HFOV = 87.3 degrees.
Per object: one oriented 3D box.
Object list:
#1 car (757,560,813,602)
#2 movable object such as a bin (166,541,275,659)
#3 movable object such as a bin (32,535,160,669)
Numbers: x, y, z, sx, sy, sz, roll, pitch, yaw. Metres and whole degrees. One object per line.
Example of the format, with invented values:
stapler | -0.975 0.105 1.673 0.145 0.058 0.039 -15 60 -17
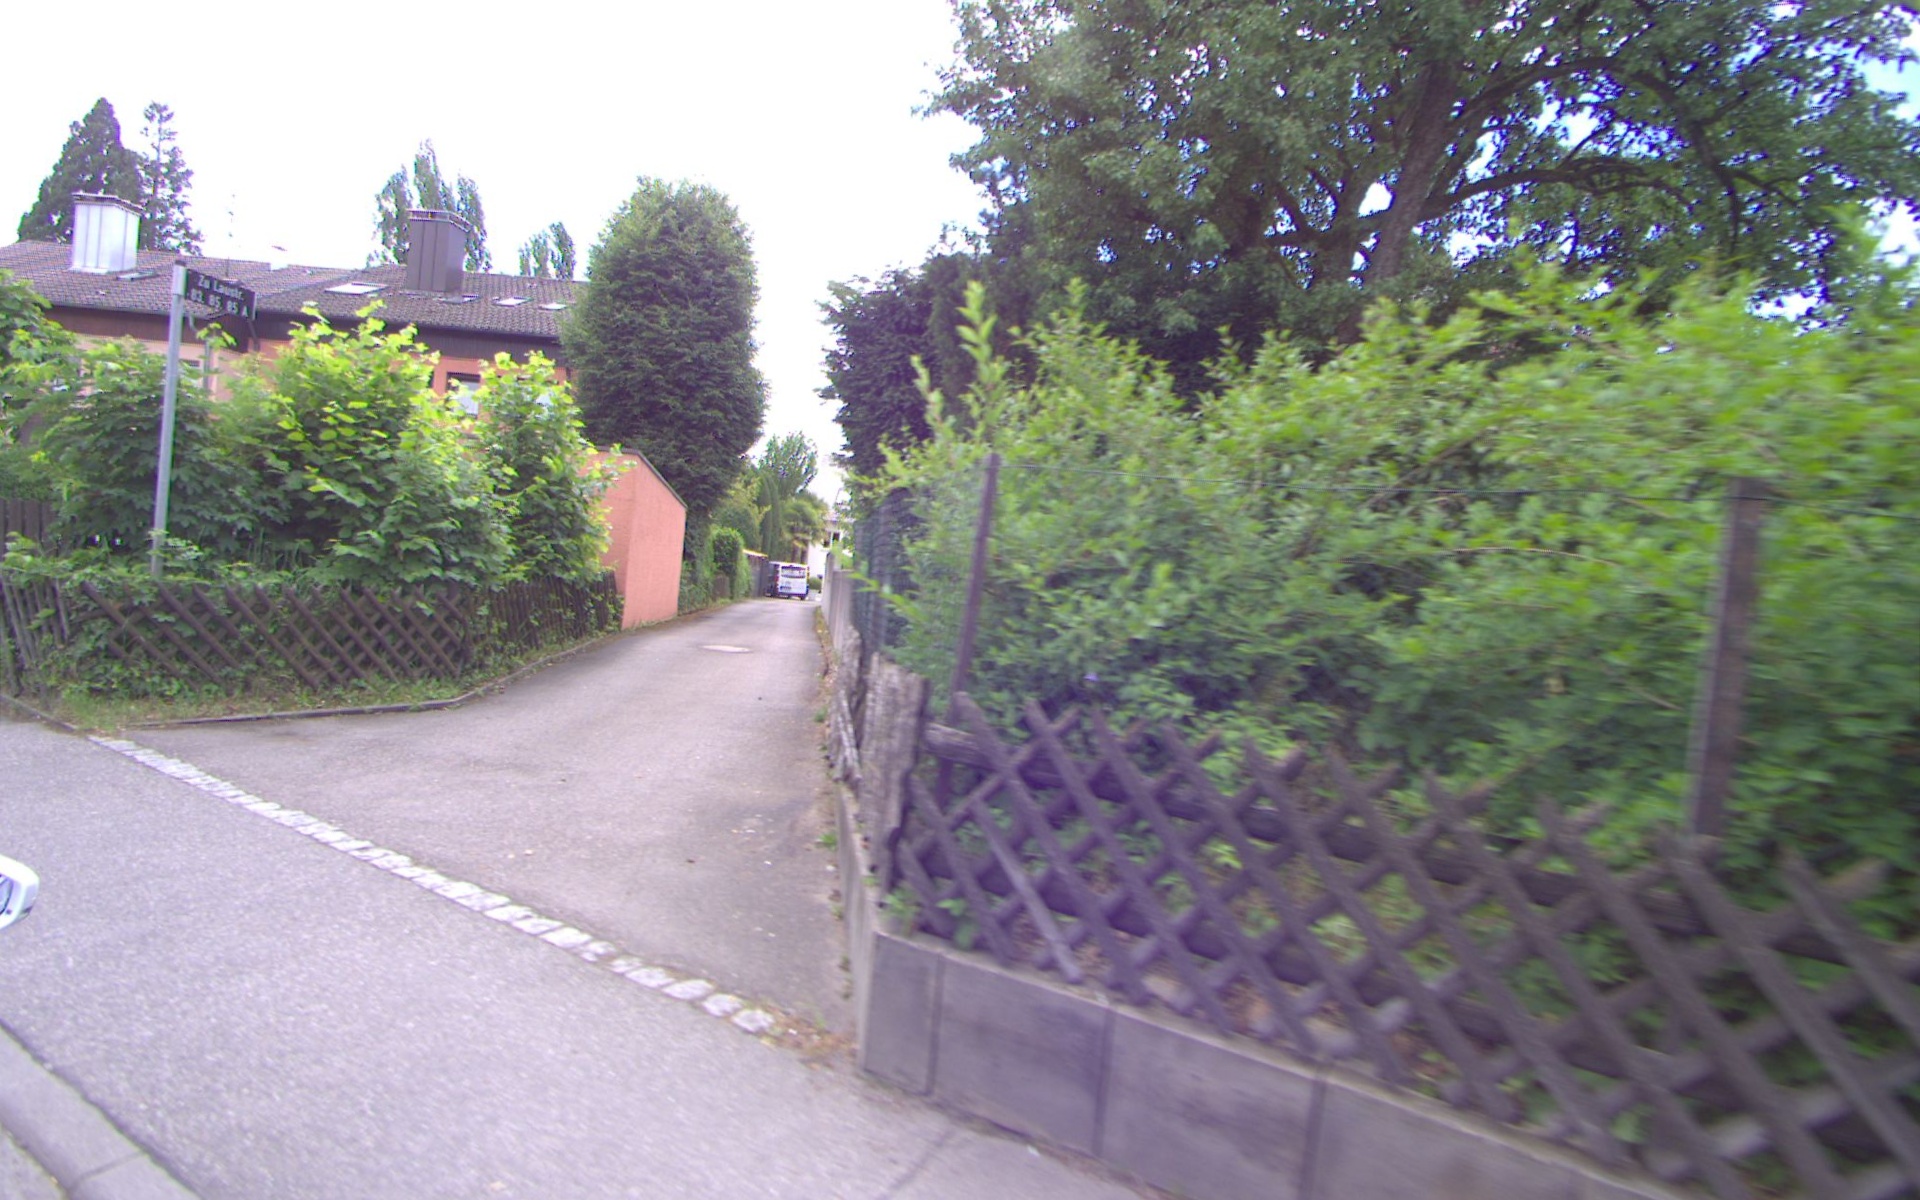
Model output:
car | -9.652 -1.080 55.083 1.864 1.963 4.985 8 -1 -21
movable object such as a bin | -6.600 -0.012 8.987 0.673 0.970 0.447 6 5 15
movable object such as a bin | -6.865 0.007 8.001 0.673 0.970 0.447 6 5 11
